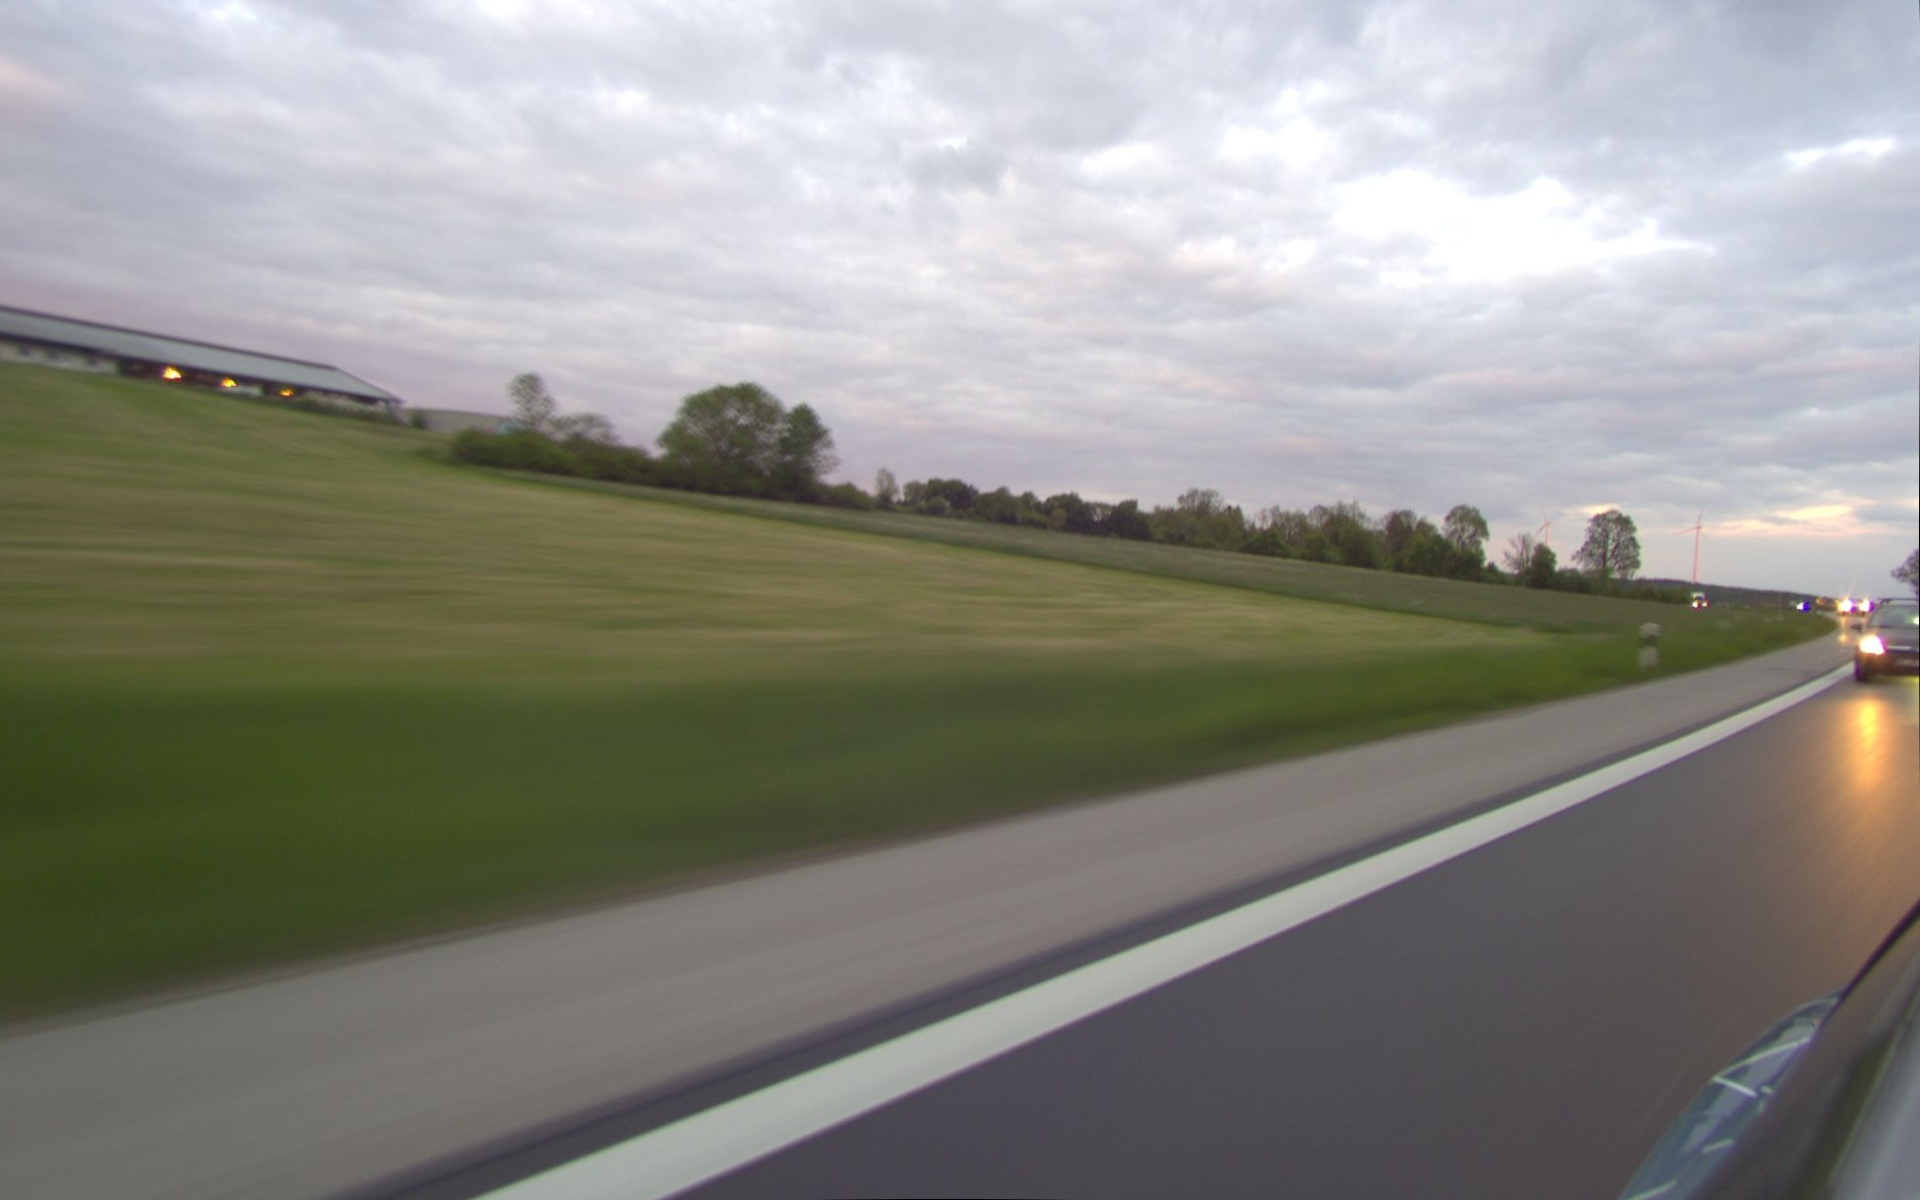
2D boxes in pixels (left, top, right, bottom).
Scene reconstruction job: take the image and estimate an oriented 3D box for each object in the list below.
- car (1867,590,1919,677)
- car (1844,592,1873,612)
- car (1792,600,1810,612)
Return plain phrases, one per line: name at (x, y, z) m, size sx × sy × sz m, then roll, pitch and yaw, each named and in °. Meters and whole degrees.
car at (18.345, 0.592, 19.029) m, size 3.934 × 1.532 × 1.678 m, roll 0°, pitch 0°, yaw -45°
car at (91.554, 0.183, 103.153) m, size 1.911 × 1.860 × 3.945 m, roll 3°, pitch 2°, yaw 38°
car at (130.350, 0.945, 156.942) m, size 1.792 × 1.665 × 4.042 m, roll 1°, pitch 1°, yaw 35°
